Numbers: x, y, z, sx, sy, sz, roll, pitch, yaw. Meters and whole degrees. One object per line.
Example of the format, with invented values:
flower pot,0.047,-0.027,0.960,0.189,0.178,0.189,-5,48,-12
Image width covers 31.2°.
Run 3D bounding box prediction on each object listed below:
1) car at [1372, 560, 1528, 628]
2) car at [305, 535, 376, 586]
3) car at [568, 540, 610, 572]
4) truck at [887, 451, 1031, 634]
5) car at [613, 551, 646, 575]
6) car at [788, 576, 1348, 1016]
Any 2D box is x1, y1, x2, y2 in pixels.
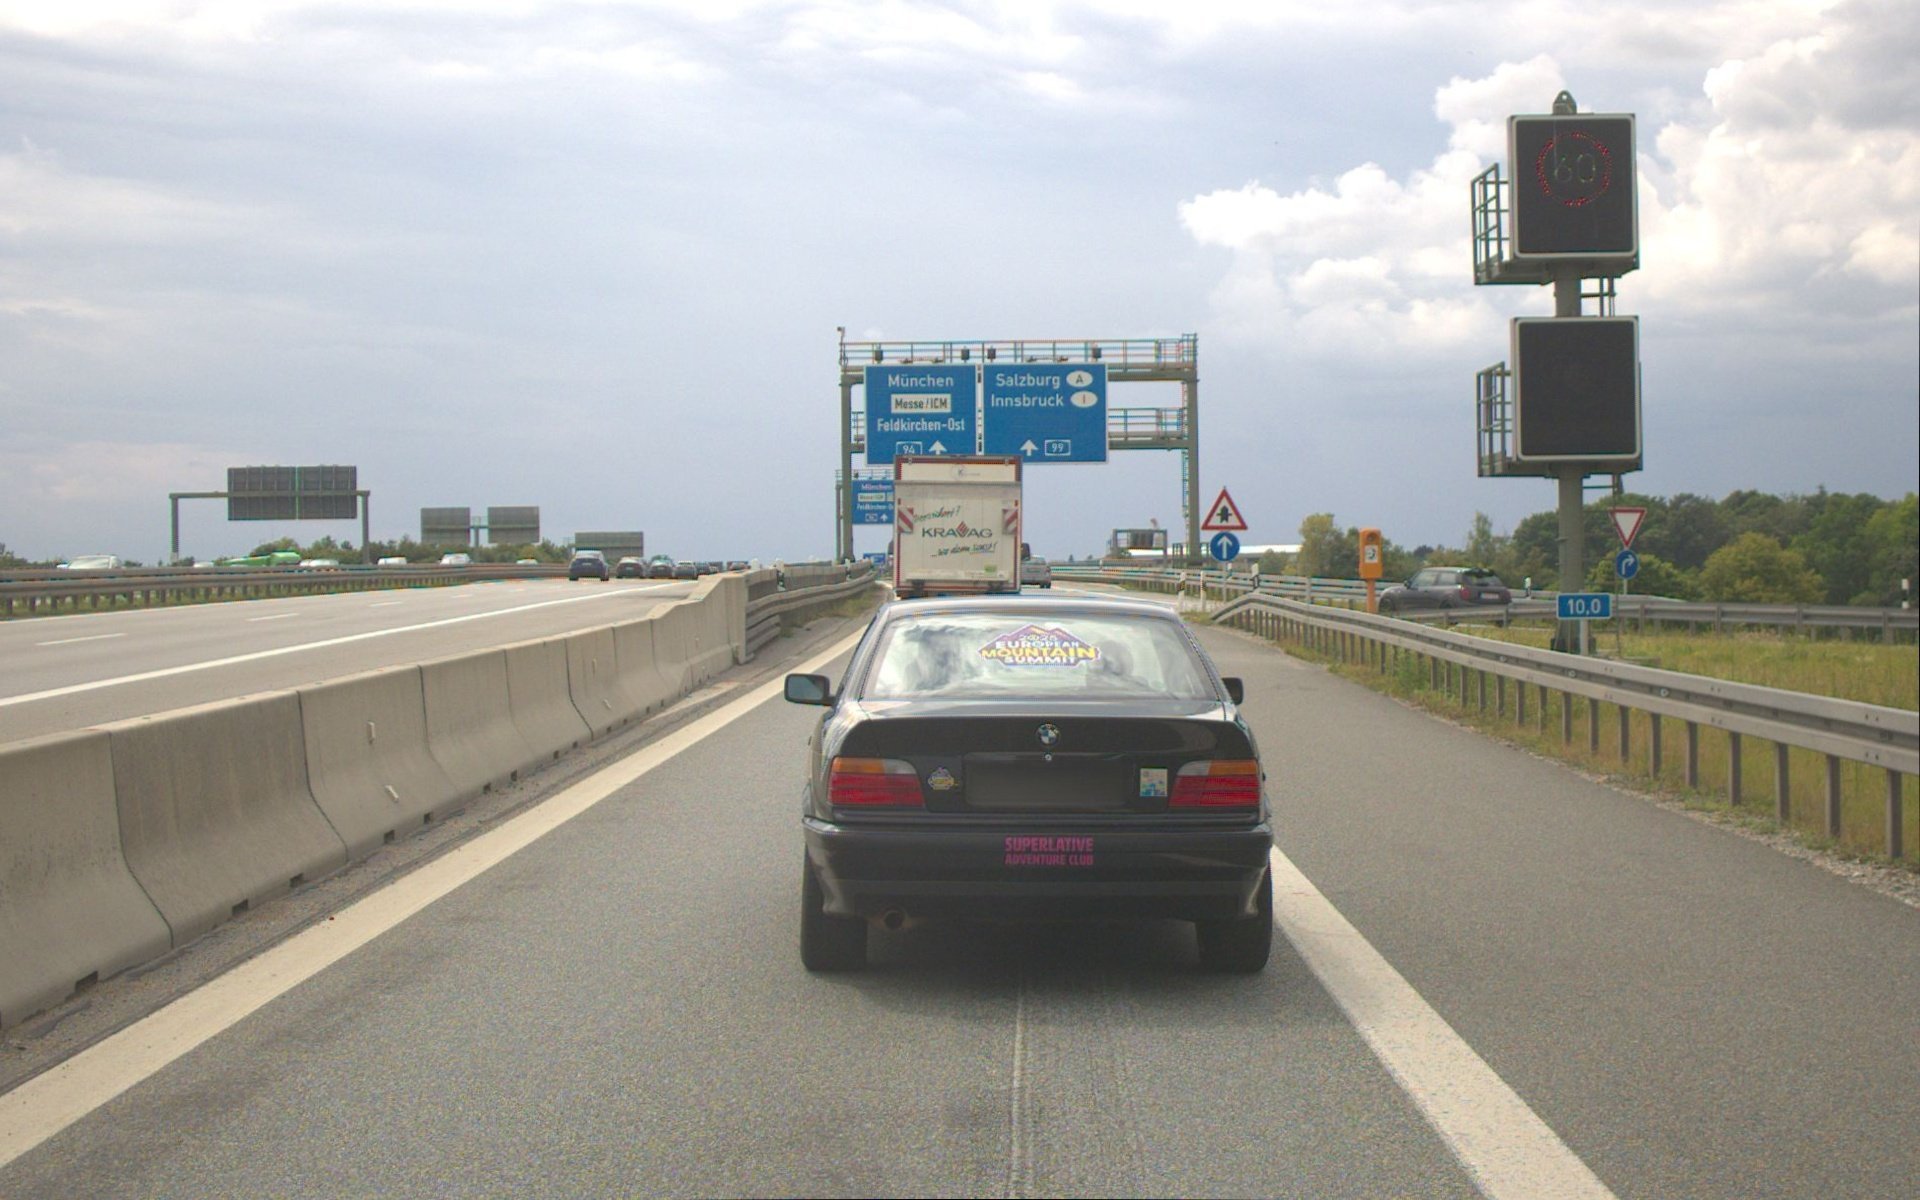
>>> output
car,11.795,-0.162,83.042,1.993,1.547,4.001,1,1,-21
car,-21.212,-1.347,117.865,1.667,1.700,4.000,1,1,1
car,-19.940,-2.367,184.853,1.993,1.656,4.384,1,1,-3
truck,-0.050,-1.026,61.580,2.404,3.079,6.370,1,1,-1
car,-22.007,-2.478,228.924,1.993,1.536,4.001,1,1,-3
car,0.252,0.630,13.294,1.782,1.373,4.137,1,1,-3
